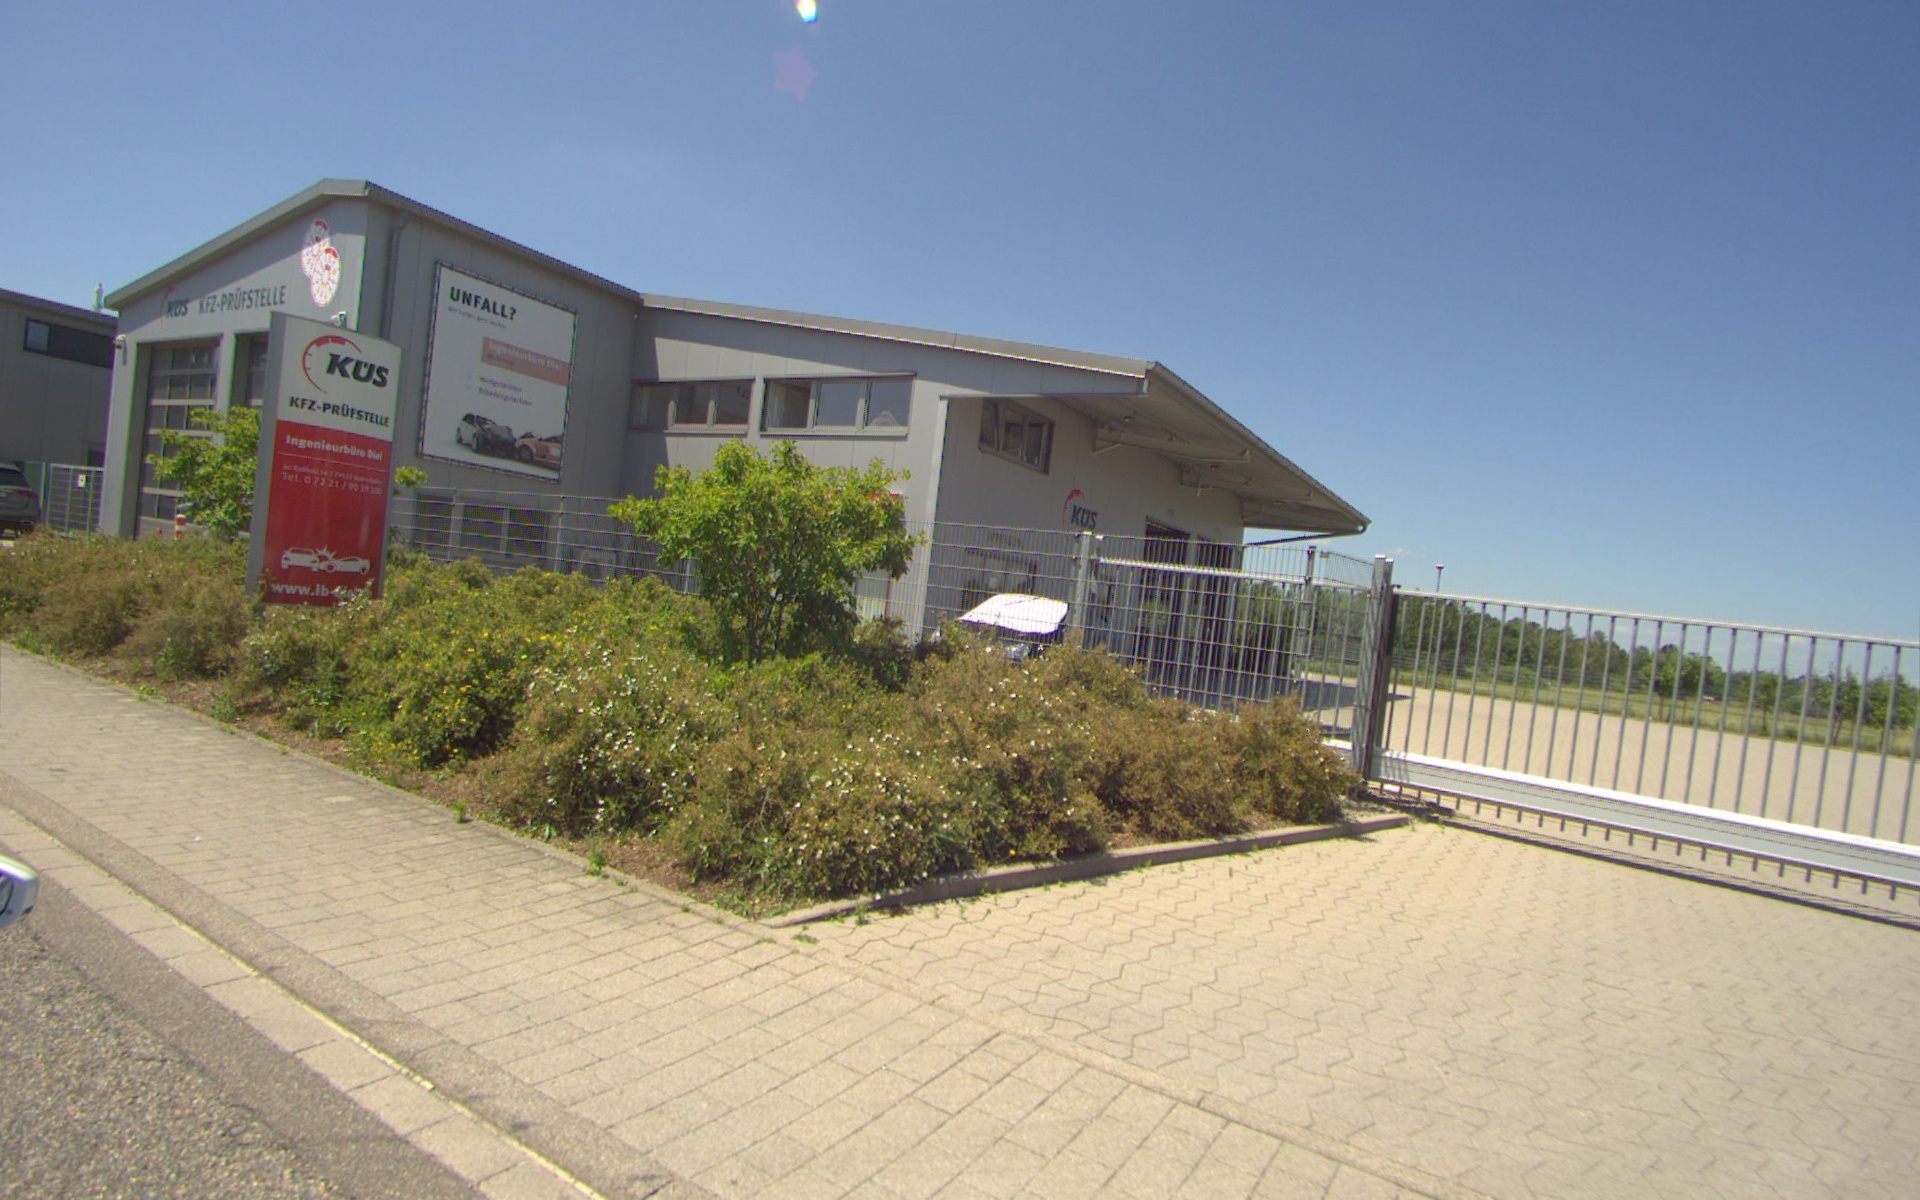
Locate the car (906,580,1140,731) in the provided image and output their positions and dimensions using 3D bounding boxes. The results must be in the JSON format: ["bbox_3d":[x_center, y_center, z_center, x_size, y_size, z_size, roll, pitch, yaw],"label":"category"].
[{"bbox_3d":[1.015,0.791,14.212,1.675,1.698,3.615,7,0,31],"label":"car"}]

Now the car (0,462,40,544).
[{"bbox_3d":[-23.892,-2.443,24.026,4.828,1.806,1.785,6,1,35],"label":"car"}]
